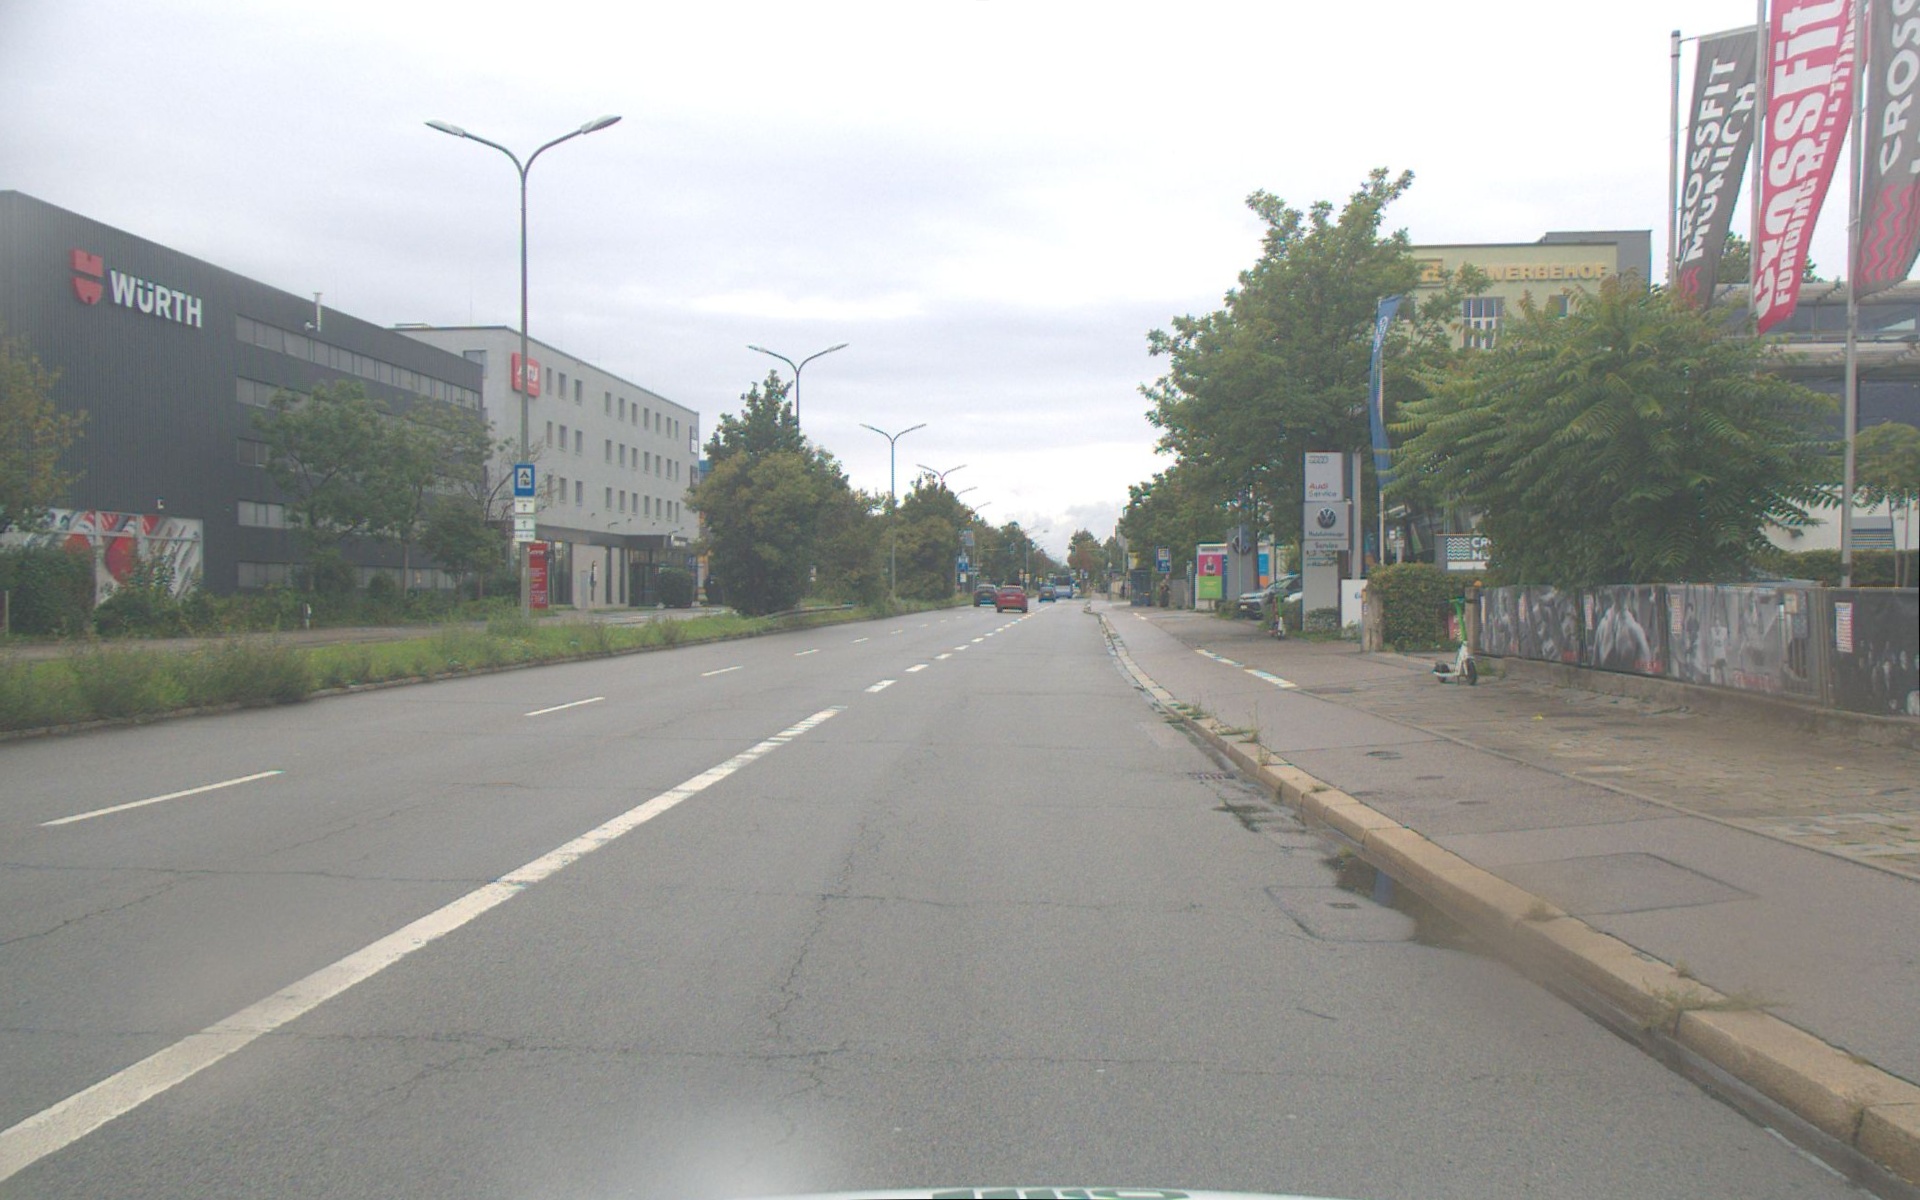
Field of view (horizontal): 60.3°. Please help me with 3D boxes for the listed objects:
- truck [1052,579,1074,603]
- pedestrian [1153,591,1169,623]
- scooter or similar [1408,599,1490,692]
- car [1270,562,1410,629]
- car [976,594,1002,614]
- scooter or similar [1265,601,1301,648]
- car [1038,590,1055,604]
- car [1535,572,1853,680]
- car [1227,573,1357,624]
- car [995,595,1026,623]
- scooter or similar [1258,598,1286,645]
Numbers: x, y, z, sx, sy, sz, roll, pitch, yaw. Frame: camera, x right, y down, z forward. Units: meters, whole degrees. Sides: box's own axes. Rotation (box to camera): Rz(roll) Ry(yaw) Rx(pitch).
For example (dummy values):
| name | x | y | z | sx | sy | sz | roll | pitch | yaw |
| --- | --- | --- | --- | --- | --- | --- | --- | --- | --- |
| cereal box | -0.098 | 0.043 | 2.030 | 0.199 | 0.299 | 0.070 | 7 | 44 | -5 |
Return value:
| name | x | y | z | sx | sy | sz | roll | pitch | yaw |
| --- | --- | --- | --- | --- | --- | --- | --- | --- | --- |
| truck | 14.366 | -1.253 | 230.310 | 2.907 | 3.343 | 7.918 | -1 | 0 | 3 |
| pedestrian | 11.542 | 0.381 | 94.977 | 0.743 | 1.758 | 0.895 | -4 | 0 | 0 |
| scooter or similar | 6.877 | 0.639 | 23.338 | 0.389 | 1.244 | 1.636 | -3 | -1 | -9 |
| car | 12.838 | -0.139 | 55.910 | 4.166 | 2.049 | 1.960 | -3 | -1 | 28 |
| car | 2.202 | 0.268 | 125.117 | 1.765 | 1.458 | 4.001 | -1 | 0 | 3 |
| scooter or similar | 8.651 | 0.648 | 44.375 | 0.486 | 1.225 | 1.428 | -3 | 0 | -5 |
| car | 9.031 | -0.281 | 173.580 | 1.765 | 1.458 | 4.001 | 0 | 0 | 3 |
| car | 10.787 | 0.373 | 24.524 | 3.929 | 1.486 | 1.794 | -1 | 0 | 4 |
| car | 12.991 | -0.059 | 64.768 | 4.516 | 1.736 | 1.998 | -2 | -1 | -17 |
| car | 3.082 | 0.547 | 100.607 | 1.823 | 1.646 | 4.001 | 0 | 0 | 3 |
| scooter or similar | 8.780 | 0.598 | 46.594 | 0.485 | 1.225 | 1.430 | -4 | 1 | 1 |
